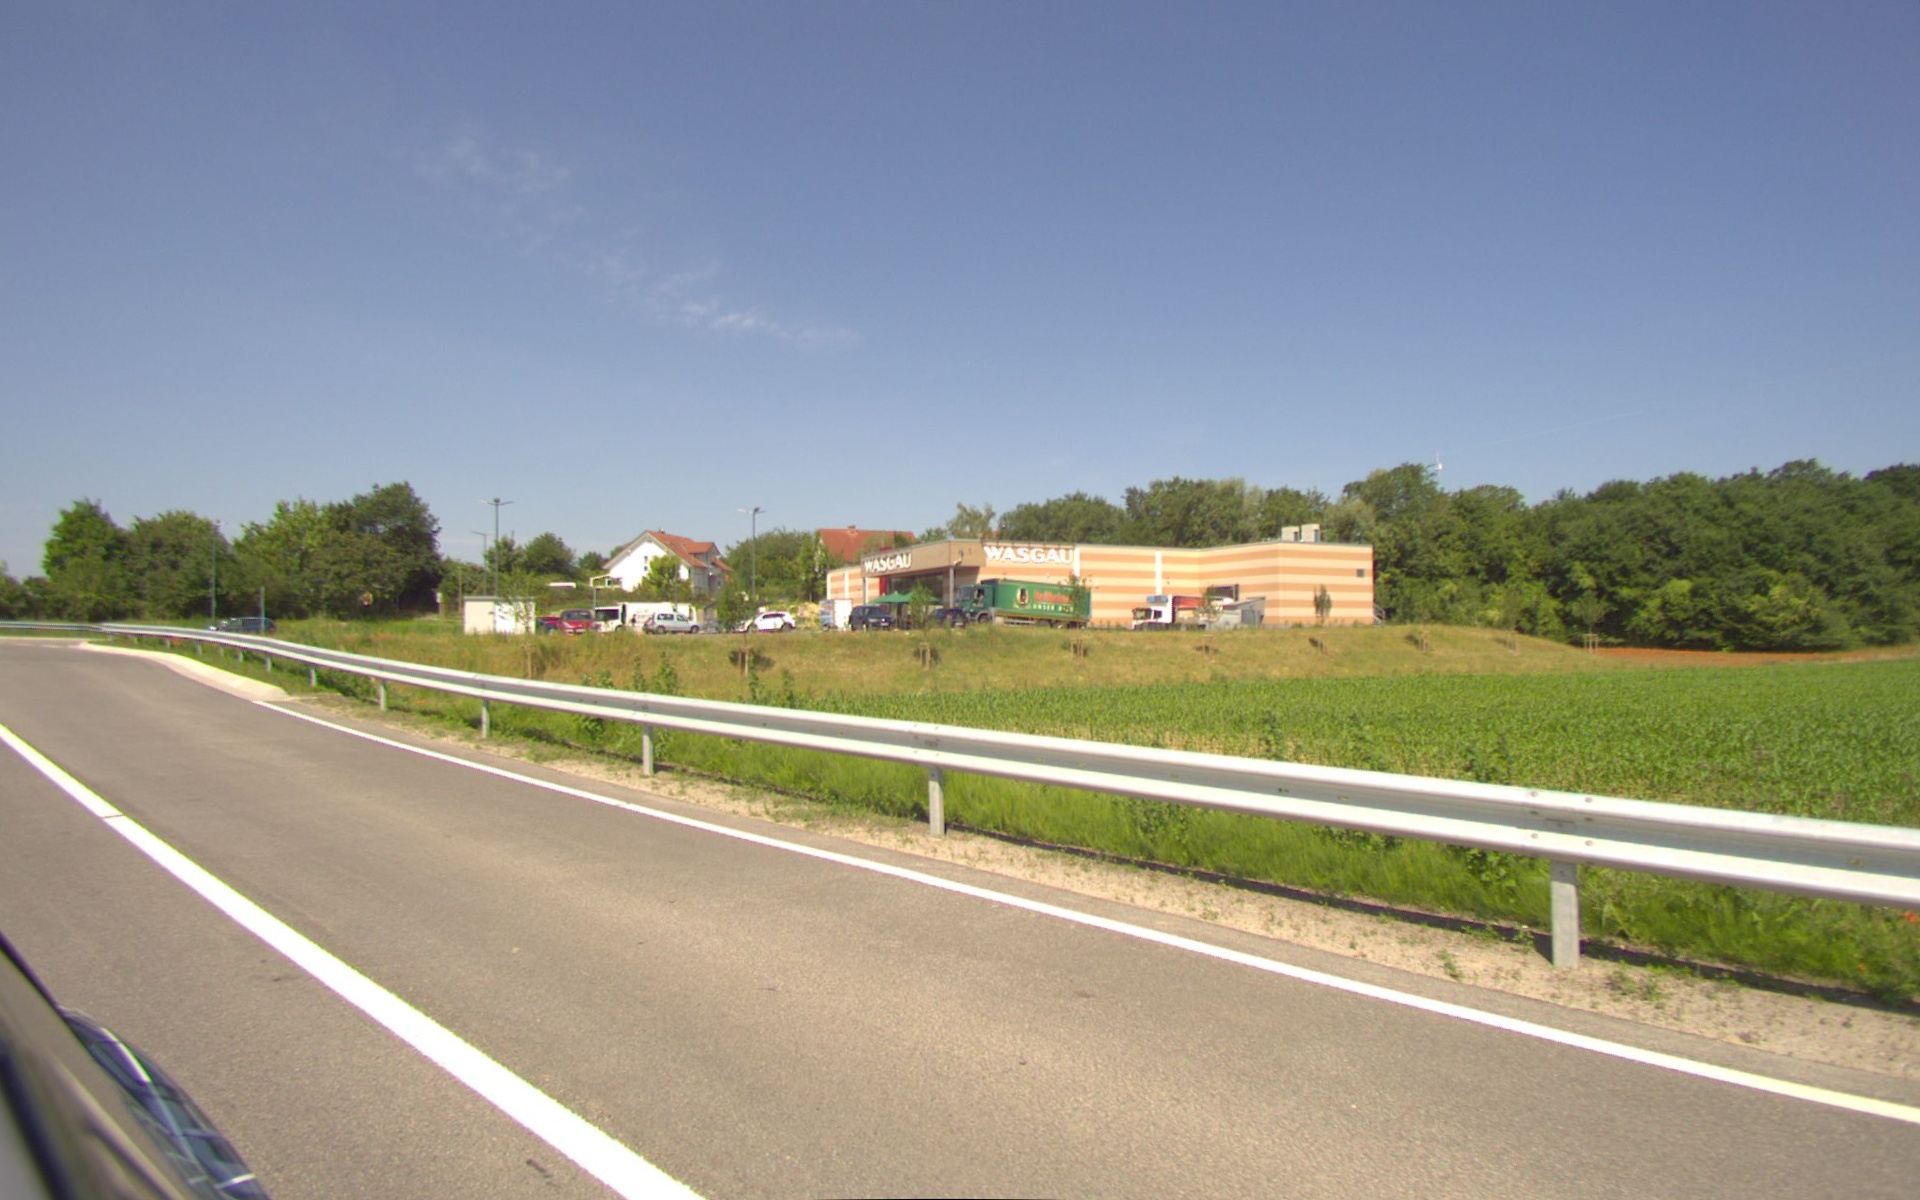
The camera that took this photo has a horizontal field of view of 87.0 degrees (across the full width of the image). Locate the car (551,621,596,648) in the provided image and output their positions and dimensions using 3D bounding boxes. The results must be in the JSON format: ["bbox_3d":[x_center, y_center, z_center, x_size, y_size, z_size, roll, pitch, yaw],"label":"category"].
[{"bbox_3d":[-19.942,1.738,52.113,1.596,1.299,3.685,0,-1,-30],"label":"car"}]

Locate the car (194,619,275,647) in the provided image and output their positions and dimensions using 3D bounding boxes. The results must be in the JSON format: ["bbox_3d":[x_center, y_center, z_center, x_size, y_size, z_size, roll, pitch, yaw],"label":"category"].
[{"bbox_3d":[-47.600,2.166,66.500,4.124,1.717,2.006,0,0,-29],"label":"car"}]

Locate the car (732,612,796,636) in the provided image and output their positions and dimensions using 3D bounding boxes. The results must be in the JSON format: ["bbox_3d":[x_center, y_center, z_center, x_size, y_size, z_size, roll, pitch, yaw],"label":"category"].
[{"bbox_3d":[-14.543,1.772,75.175,4.258,1.717,2.006,0,0,-28],"label":"car"}]

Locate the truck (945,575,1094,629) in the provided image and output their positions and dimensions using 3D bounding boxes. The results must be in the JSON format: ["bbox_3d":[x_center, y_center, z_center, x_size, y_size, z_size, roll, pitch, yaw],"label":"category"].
[{"bbox_3d":[4.093,0.140,68.898,9.769,3.503,2.888,0,0,-22],"label":"truck"}]

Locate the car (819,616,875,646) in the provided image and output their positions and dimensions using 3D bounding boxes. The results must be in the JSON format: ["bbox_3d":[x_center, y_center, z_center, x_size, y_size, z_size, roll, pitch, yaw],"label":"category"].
[{"bbox_3d":[-7.054,1.886,62.817,1.966,1.773,4.012,0,-1,-32],"label":"car"}]

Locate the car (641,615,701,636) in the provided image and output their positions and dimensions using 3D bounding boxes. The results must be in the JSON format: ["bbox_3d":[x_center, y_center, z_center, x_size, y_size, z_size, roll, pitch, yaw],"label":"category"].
[{"bbox_3d":[-22.882,2.004,80.109,4.259,1.610,2.006,0,0,-29],"label":"car"}]

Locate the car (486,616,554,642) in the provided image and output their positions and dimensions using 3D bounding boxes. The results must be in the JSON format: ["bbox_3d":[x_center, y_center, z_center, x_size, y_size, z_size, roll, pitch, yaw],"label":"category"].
[{"bbox_3d":[-30.375,1.960,69.860,4.258,1.717,2.007,0,0,-25],"label":"car"}]

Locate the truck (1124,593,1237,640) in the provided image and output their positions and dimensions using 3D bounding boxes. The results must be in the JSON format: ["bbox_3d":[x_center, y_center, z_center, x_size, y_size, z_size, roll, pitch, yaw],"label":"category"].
[{"bbox_3d":[17.283,1.257,79.175,8.728,3.591,2.888,0,0,-26],"label":"truck"}]

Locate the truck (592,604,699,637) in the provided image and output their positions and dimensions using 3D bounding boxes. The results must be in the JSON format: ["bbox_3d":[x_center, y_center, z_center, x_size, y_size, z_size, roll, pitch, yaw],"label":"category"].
[{"bbox_3d":[-32.634,2.058,105.357,10.556,3.215,2.450,0,0,-42],"label":"truck"}]
